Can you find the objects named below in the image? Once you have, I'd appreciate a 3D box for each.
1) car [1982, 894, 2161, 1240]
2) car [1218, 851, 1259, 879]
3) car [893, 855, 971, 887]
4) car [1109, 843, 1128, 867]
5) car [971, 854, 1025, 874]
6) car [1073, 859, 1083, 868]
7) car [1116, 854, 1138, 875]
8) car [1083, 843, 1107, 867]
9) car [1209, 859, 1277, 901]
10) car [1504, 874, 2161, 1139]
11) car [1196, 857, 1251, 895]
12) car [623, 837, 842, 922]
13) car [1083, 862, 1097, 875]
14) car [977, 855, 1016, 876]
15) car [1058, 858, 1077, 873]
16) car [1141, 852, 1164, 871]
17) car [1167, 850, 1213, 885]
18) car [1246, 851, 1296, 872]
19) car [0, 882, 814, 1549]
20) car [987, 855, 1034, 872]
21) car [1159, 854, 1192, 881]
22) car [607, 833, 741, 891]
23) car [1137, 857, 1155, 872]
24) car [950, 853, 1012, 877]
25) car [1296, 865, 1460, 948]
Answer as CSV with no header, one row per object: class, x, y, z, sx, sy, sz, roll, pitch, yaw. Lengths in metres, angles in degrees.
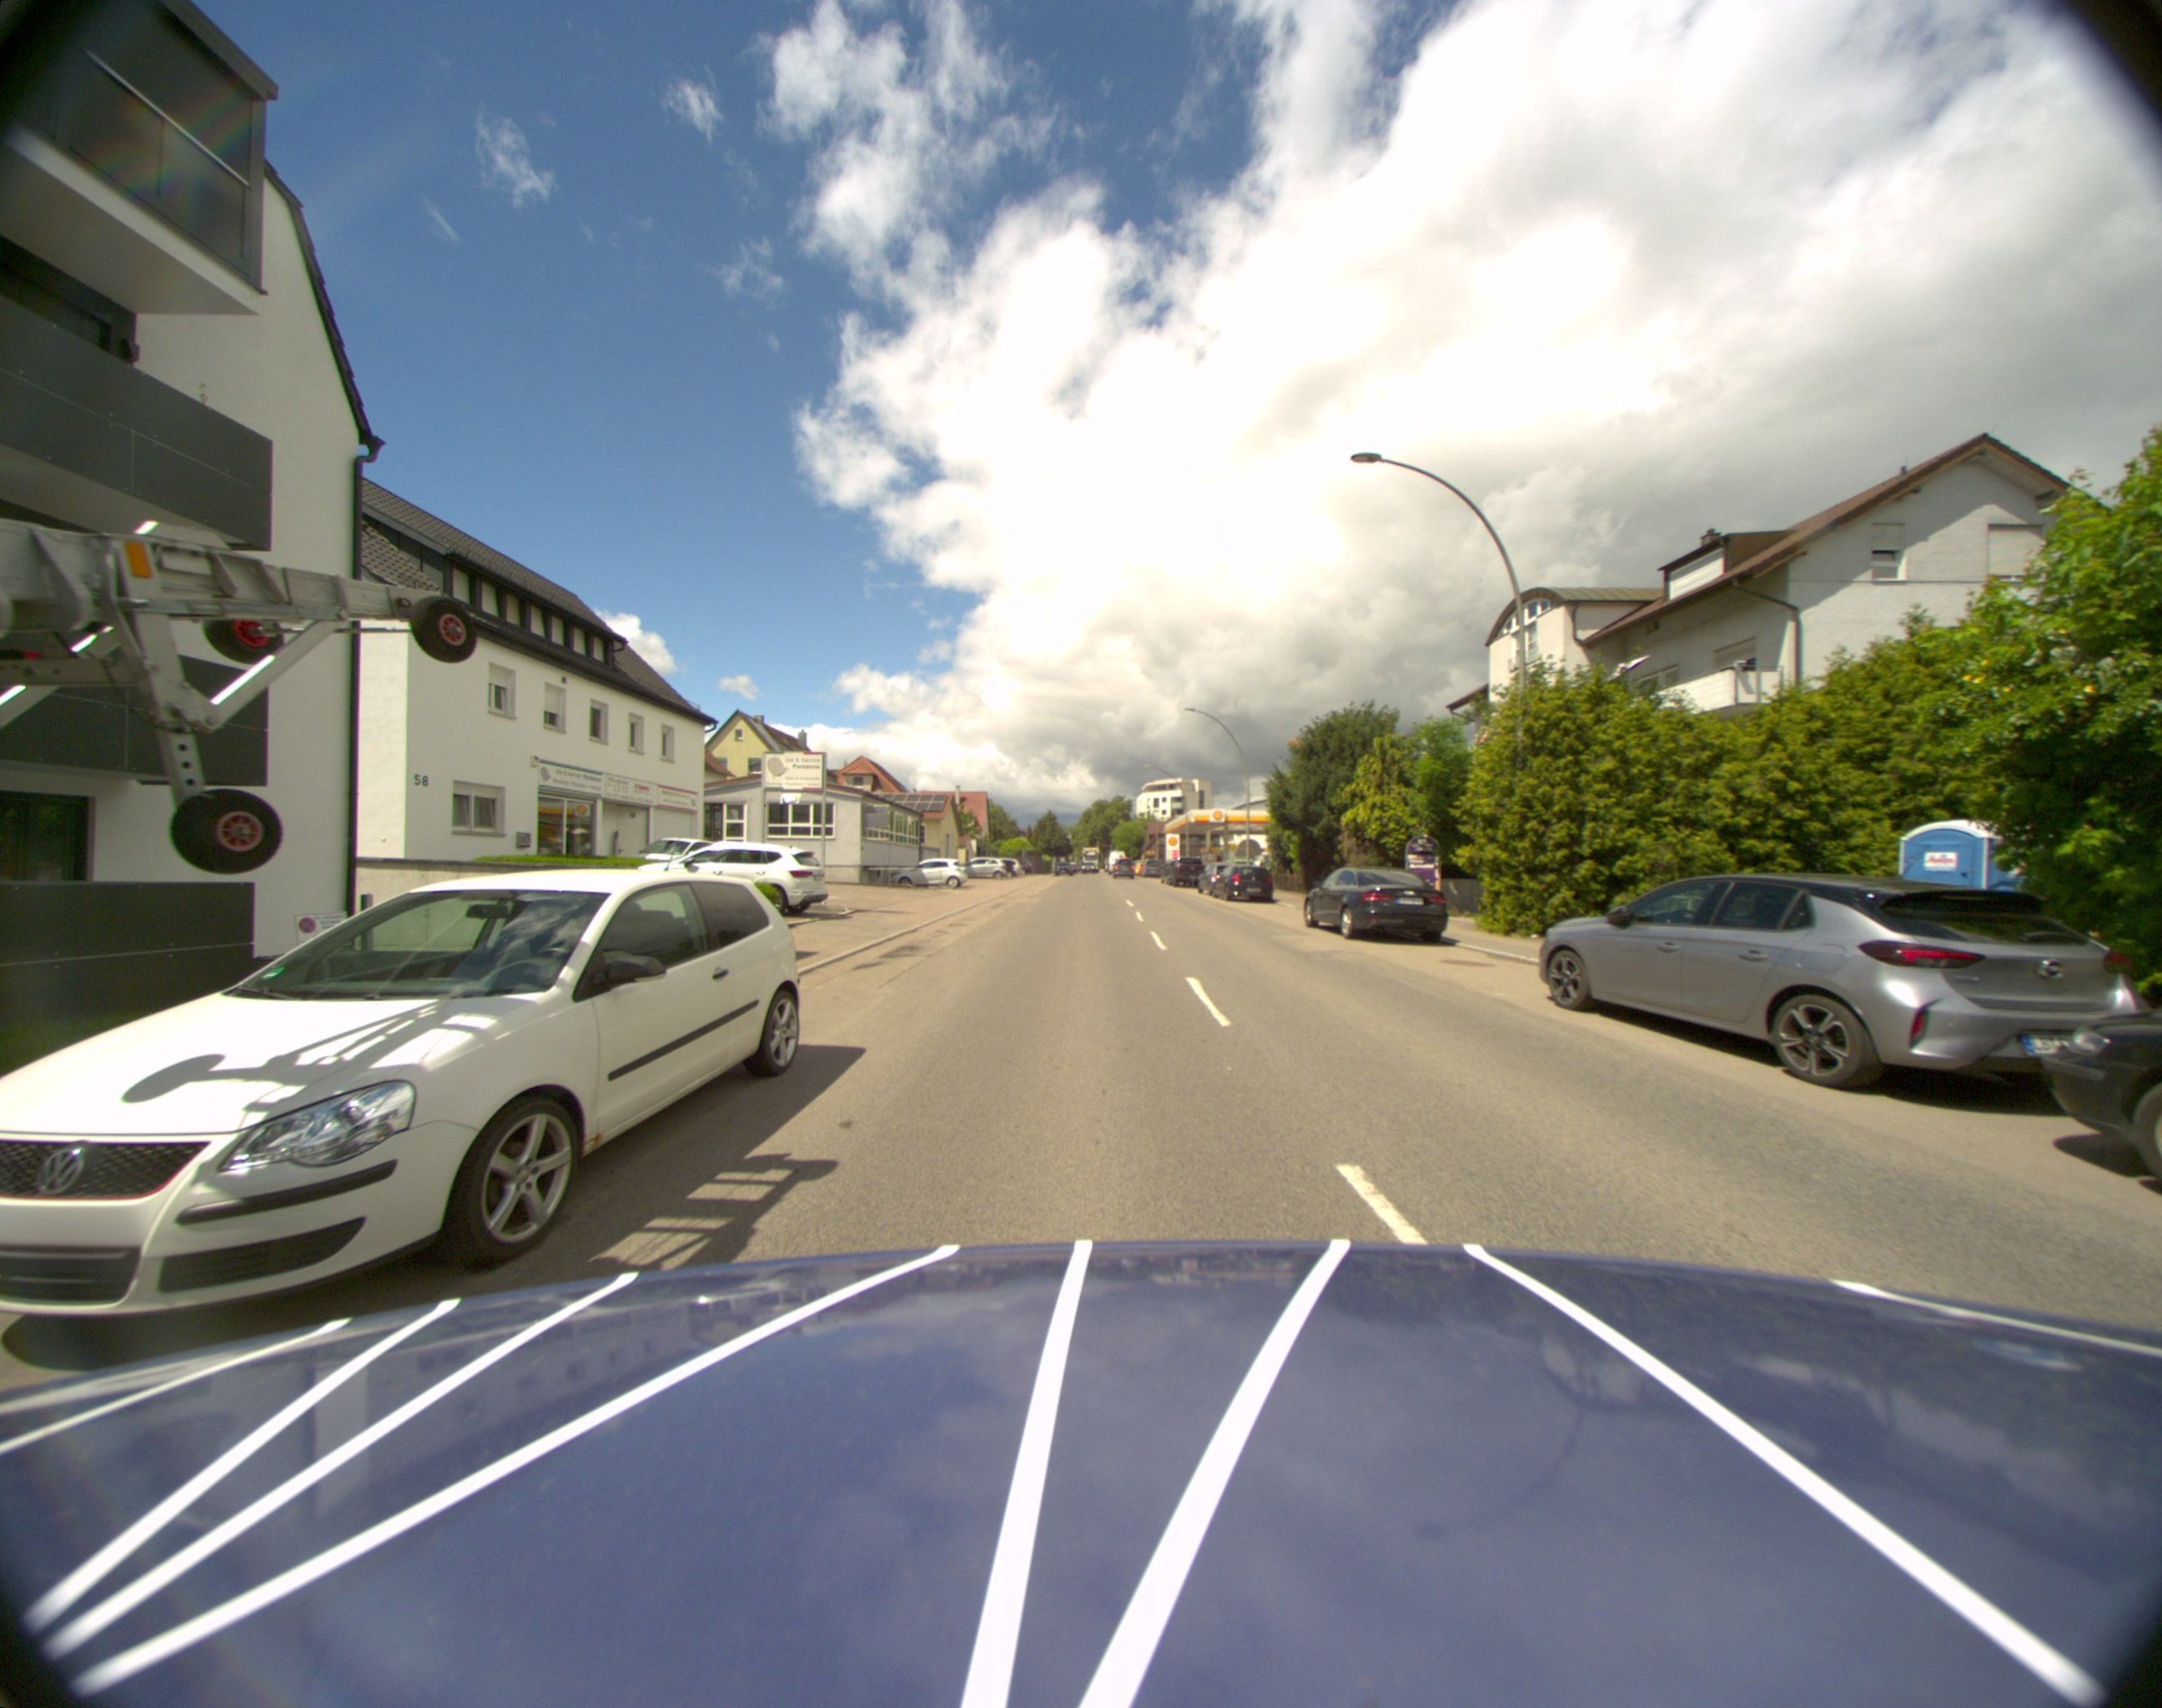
car,5.632,0.956,1.629,1.724,1.484,4.735,1,0,-1
car,10.374,0.695,50.350,1.797,1.775,4.338,-1,0,0
car,-8.123,0.927,41.725,3.909,1.599,1.749,-2,0,-1
car,4.443,0.146,90.205,1.997,2.749,6.164,1,0,1
car,-7.161,0.893,65.960,4.419,1.516,1.974,3,0,-2
car,-0.500,1.754,137.278,1.789,1.555,3.880,-1,0,1
car,4.055,0.895,67.490,1.667,1.785,4.338,1,0,0
car,2.131,0.145,117.960,3.263,3.596,10.268,-1,0,-1
car,6.159,0.960,29.284,1.667,1.427,4.338,2,0,1
car,5.697,0.947,6.512,1.724,1.423,4.199,2,0,-1
car,6.327,0.944,34.112,1.667,1.502,3.945,3,0,1
car,-8.031,0.573,17.798,4.202,1.644,1.867,3,0,0
car,1.216,1.959,103.903,1.891,1.708,3.999,1,0,-1
car,-6.876,0.919,62.033,2.896,1.516,1.974,3,0,-2
car,-1.418,1.227,82.575,1.789,1.548,4.317,-1,0,2
car,6.772,0.707,72.132,1.733,1.727,4.190,3,0,1
car,6.391,0.780,45.295,1.915,1.810,5.430,3,0,1
car,17.610,0.698,70.197,4.993,1.841,1.970,0,0,-41
car,-3.021,0.935,3.837,1.723,1.423,3.984,2,0,3
car,-6.818,0.949,73.956,4.419,1.399,1.974,3,0,-2
car,6.389,0.894,51.669,1.667,1.670,4.526,2,0,1
car,-12.112,0.270,22.898,1.634,1.510,3.668,3,-1,8
car,7.018,1.091,82.524,1.666,1.505,3.946,3,0,2
car,-7.567,0.826,57.669,4.419,1.599,1.974,3,0,-2
car,5.855,0.959,15.586,1.667,1.406,4.338,1,0,1
